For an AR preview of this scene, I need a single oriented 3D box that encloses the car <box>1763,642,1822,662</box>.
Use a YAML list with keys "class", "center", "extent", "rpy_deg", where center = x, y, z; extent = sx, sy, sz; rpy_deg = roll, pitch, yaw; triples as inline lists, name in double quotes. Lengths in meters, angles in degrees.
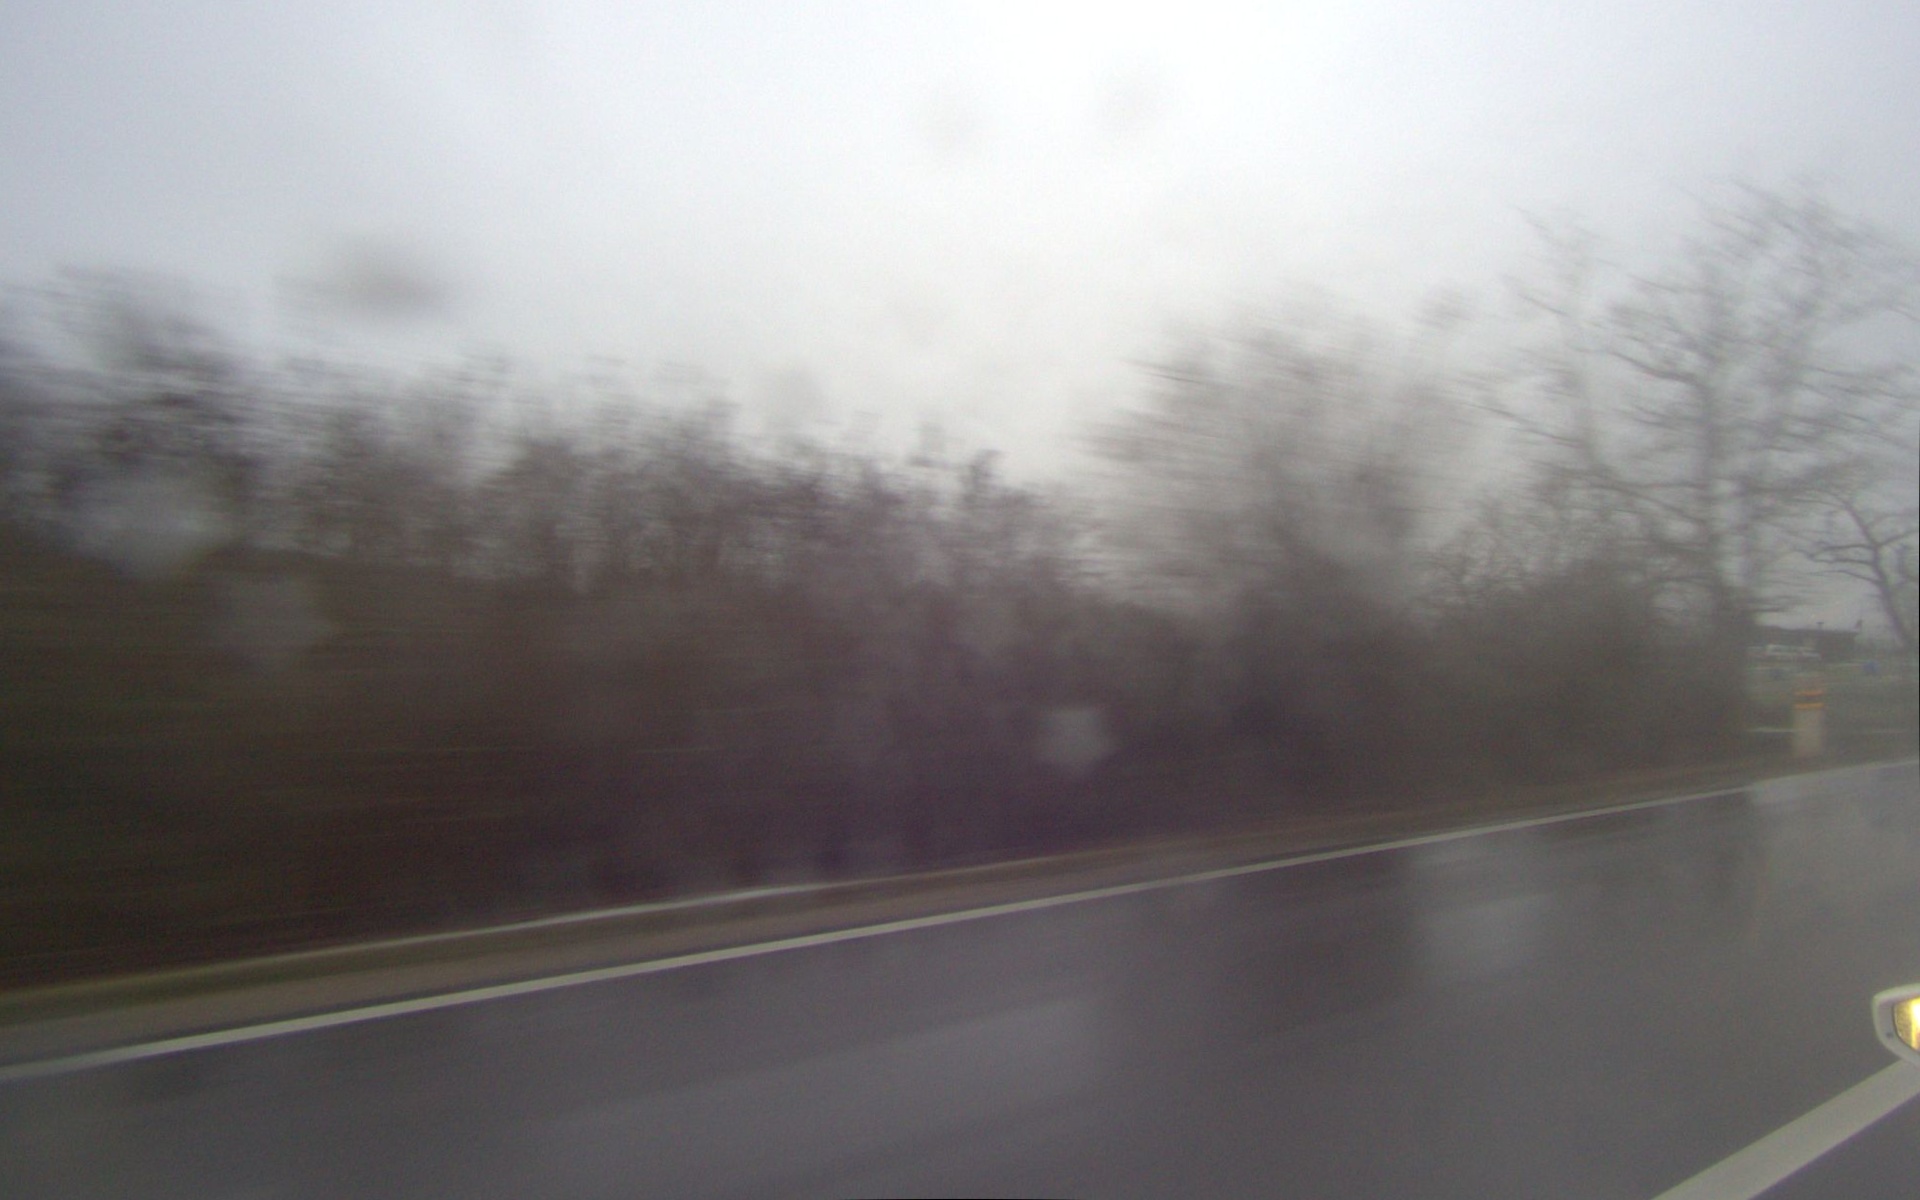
- class: "car"
  center: [65.445, 4.087, 79.020]
  extent: [1.588, 1.360, 3.407]
  rpy_deg: [2, 0, -44]
